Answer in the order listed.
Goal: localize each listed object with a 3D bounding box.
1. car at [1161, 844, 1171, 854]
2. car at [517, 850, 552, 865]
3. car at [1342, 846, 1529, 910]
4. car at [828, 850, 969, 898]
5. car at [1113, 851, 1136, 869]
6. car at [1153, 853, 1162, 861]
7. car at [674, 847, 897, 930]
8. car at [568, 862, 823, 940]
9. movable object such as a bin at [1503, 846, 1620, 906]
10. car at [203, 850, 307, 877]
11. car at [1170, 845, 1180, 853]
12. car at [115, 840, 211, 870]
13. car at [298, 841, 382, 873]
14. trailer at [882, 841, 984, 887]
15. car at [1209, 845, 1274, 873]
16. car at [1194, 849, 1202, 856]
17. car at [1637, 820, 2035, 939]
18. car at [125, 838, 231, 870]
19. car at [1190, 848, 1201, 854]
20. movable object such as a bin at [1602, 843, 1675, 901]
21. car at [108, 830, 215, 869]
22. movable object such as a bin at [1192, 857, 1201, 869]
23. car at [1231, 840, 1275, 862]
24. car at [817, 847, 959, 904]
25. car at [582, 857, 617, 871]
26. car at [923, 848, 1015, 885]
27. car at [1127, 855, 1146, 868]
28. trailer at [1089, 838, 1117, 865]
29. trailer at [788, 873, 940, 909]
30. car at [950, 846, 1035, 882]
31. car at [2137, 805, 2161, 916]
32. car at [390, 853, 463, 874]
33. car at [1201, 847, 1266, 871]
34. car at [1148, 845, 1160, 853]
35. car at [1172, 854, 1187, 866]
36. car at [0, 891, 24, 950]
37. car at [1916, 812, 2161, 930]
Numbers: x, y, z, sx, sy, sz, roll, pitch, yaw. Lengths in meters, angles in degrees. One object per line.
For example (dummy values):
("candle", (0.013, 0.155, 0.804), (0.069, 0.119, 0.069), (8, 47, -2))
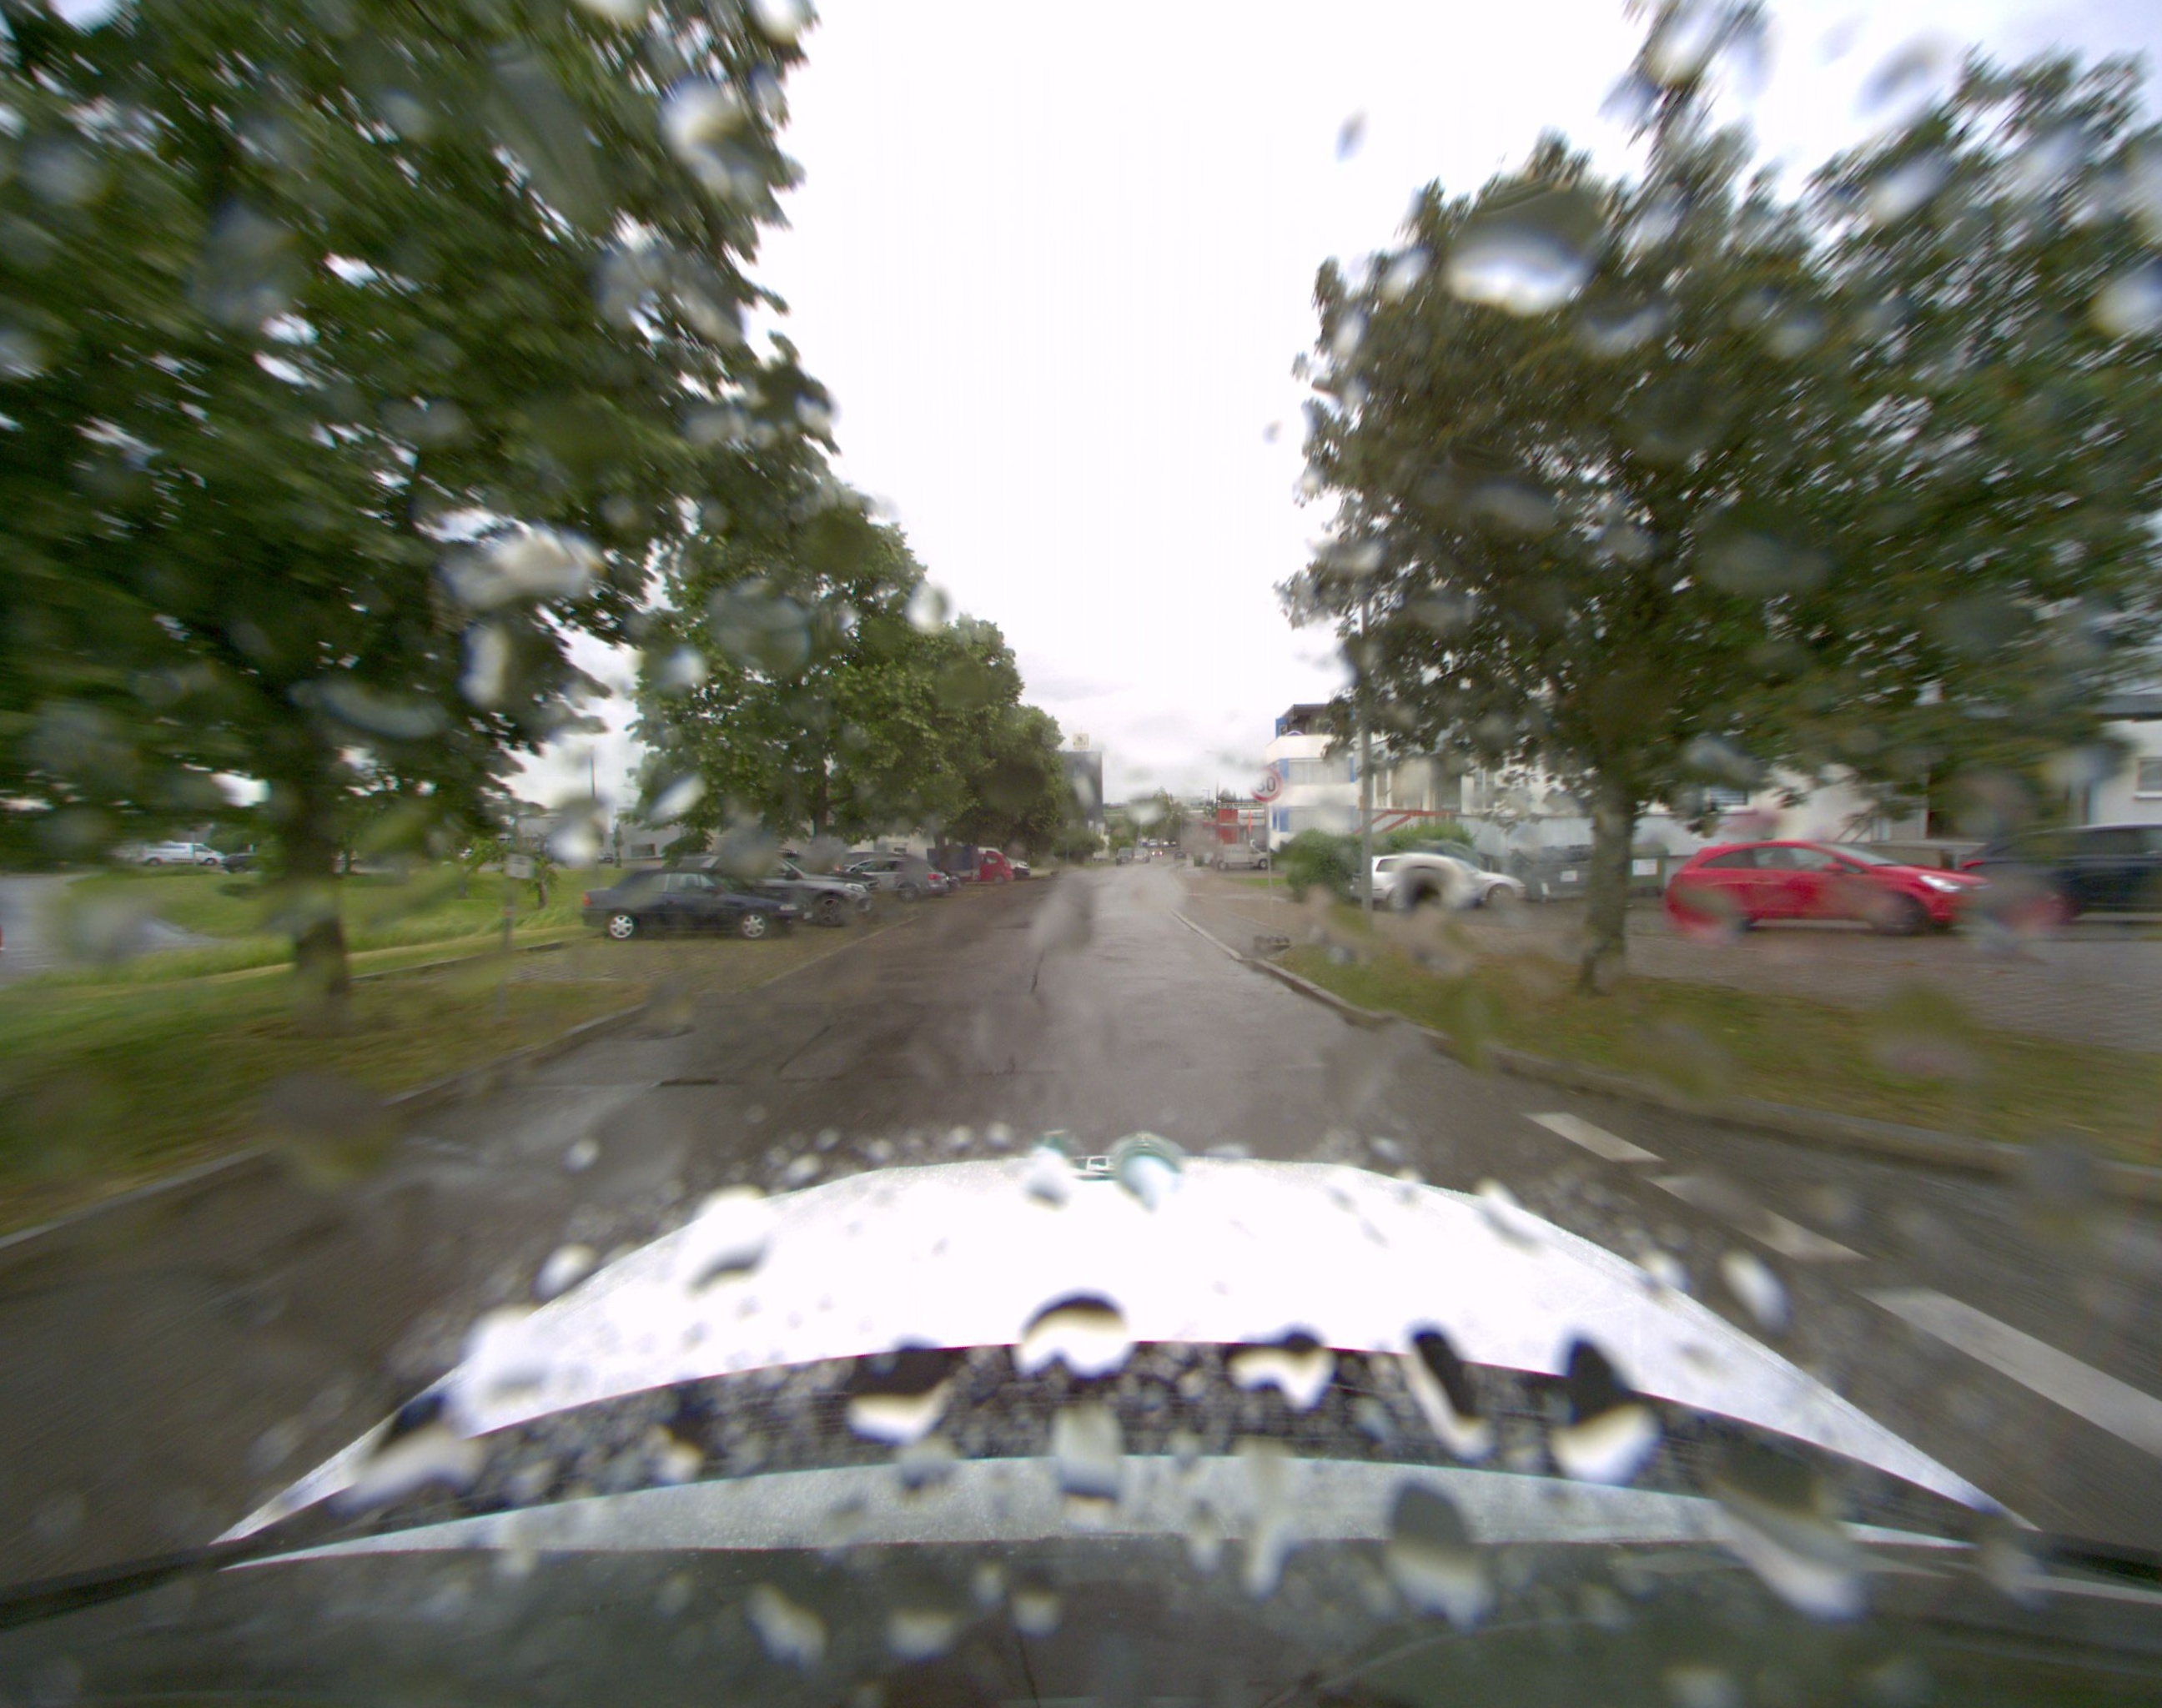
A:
("car", (22.133, -1.295, 213.096), (2.186, 2.459, 3.999), (-1, -1, 0))
("car", (-60.419, 0.364, 90.019), (3.948, 1.618, 1.823), (-1, 0, 34))
("car", (9.521, 0.649, 22.148), (4.292, 1.584, 1.861), (-1, -1, 4))
("car", (-6.541, 0.705, 29.474), (4.595, 1.590, 1.809), (1, -1, 5))
("car", (4.719, 0.602, 86.913), (1.904, 1.831, 4.860), (-1, 0, 9))
("car", (14.847, 0.554, 157.857), (1.739, 1.508, 3.940), (-3, -1, 5))
("car", (-6.697, 0.764, 18.812), (4.351, 1.722, 2.045), (-1, -1, 1))
("car", (-7.514, 0.888, 16.204), (4.202, 1.431, 1.772), (0, -1, -3))
("movable object such as a bin", (13.252, 0.580, 22.584), (2.254, 1.503, 1.737), (-3, 0, 8))
("car", (-65.506, 0.759, 64.663), (2.261, 1.975, 5.456), (-3, -2, 33))
("car", (24.657, -1.303, 213.787), (2.137, 2.014, 3.941), (-1, -1, 2))
("car", (-83.251, 0.103, 73.978), (1.975, 2.570, 5.464), (-2, -1, 28))
("car", (-86.901, 0.338, 95.577), (2.511, 3.425, 6.774), (-3, 0, 33))
("trailer", (-6.742, 0.452, 37.301), (4.192, 1.984, 1.776), (-1, -1, 5))
("car", (11.190, 0.342, 57.009), (4.318, 1.773, 2.093), (-2, 0, 6))
("car", (25.434, -0.260, 177.276), (1.688, 1.475, 4.009), (-1, -1, 8))
("car", (11.867, 0.449, 13.194), (1.863, 1.585, 4.287), (-1, -3, -27))
("car", (-78.412, -0.029, 70.833), (1.975, 2.701, 5.846), (1, 0, 27))
("car", (28.006, -0.808, 199.372), (2.537, 1.352, 1.243), (-1, 0, 2))
("movable object such as a bin", (15.355, 0.487, 22.479), (1.298, 1.495, 1.031), (-3, 0, 8))
("car", (-85.309, -0.362, 75.662), (1.974, 3.429, 6.341), (-2, -1, 33))
("movable object such as a bin", (10.526, 0.830, 74.203), (0.767, 1.030, 0.810), (-1, 0, 9))
("car", (22.340, -0.354, 106.002), (5.269, 2.013, 2.227), (-9, -2, 7))
("car", (-6.310, 0.687, 26.910), (4.052, 1.722, 2.029), (1, -1, 6))
("car", (-56.412, 1.133, 95.334), (3.948, 1.618, 2.013), (-1, 0, 34))
("car", (-5.449, 0.622, 40.061), (4.179, 1.722, 1.756), (-1, -1, 2))
("car", (6.974, 0.889, 101.417), (1.945, 1.461, 5.260), (-1, 0, 8))
("trailer", (3.469, -0.349, 130.419), (2.018, 4.203, 4.135), (-1, -1, -44))
("trailer", (-6.369, 1.064, 24.229), (3.924, 0.961, 2.002), (0, 0, 3))
("car", (-4.897, 0.550, 45.098), (4.272, 1.906, 1.867), (-1, -1, 11))
("car", (19.393, 0.016, 12.039), (1.865, 1.799, 4.412), (2, -4, -33))
("car", (-59.148, 0.875, 73.675), (2.261, 1.648, 4.649), (-3, 0, 33))
("car", (11.219, 0.358, 60.134), (4.571, 1.538, 2.084), (-3, 0, 7))
("car", (19.105, -1.201, 213.048), (2.263, 2.014, 3.990), (-1, -1, -7))
("car", (14.055, 0.928, 116.360), (1.947, 1.675, 4.478), (-1, -1, 5))
("car", (-43.453, 2.648, 31.717), (4.446, 2.220, 1.942), (-3, 0, 27))
("car", (15.940, 0.200, 11.929), (1.865, 1.585, 4.781), (-1, -6, -32))
